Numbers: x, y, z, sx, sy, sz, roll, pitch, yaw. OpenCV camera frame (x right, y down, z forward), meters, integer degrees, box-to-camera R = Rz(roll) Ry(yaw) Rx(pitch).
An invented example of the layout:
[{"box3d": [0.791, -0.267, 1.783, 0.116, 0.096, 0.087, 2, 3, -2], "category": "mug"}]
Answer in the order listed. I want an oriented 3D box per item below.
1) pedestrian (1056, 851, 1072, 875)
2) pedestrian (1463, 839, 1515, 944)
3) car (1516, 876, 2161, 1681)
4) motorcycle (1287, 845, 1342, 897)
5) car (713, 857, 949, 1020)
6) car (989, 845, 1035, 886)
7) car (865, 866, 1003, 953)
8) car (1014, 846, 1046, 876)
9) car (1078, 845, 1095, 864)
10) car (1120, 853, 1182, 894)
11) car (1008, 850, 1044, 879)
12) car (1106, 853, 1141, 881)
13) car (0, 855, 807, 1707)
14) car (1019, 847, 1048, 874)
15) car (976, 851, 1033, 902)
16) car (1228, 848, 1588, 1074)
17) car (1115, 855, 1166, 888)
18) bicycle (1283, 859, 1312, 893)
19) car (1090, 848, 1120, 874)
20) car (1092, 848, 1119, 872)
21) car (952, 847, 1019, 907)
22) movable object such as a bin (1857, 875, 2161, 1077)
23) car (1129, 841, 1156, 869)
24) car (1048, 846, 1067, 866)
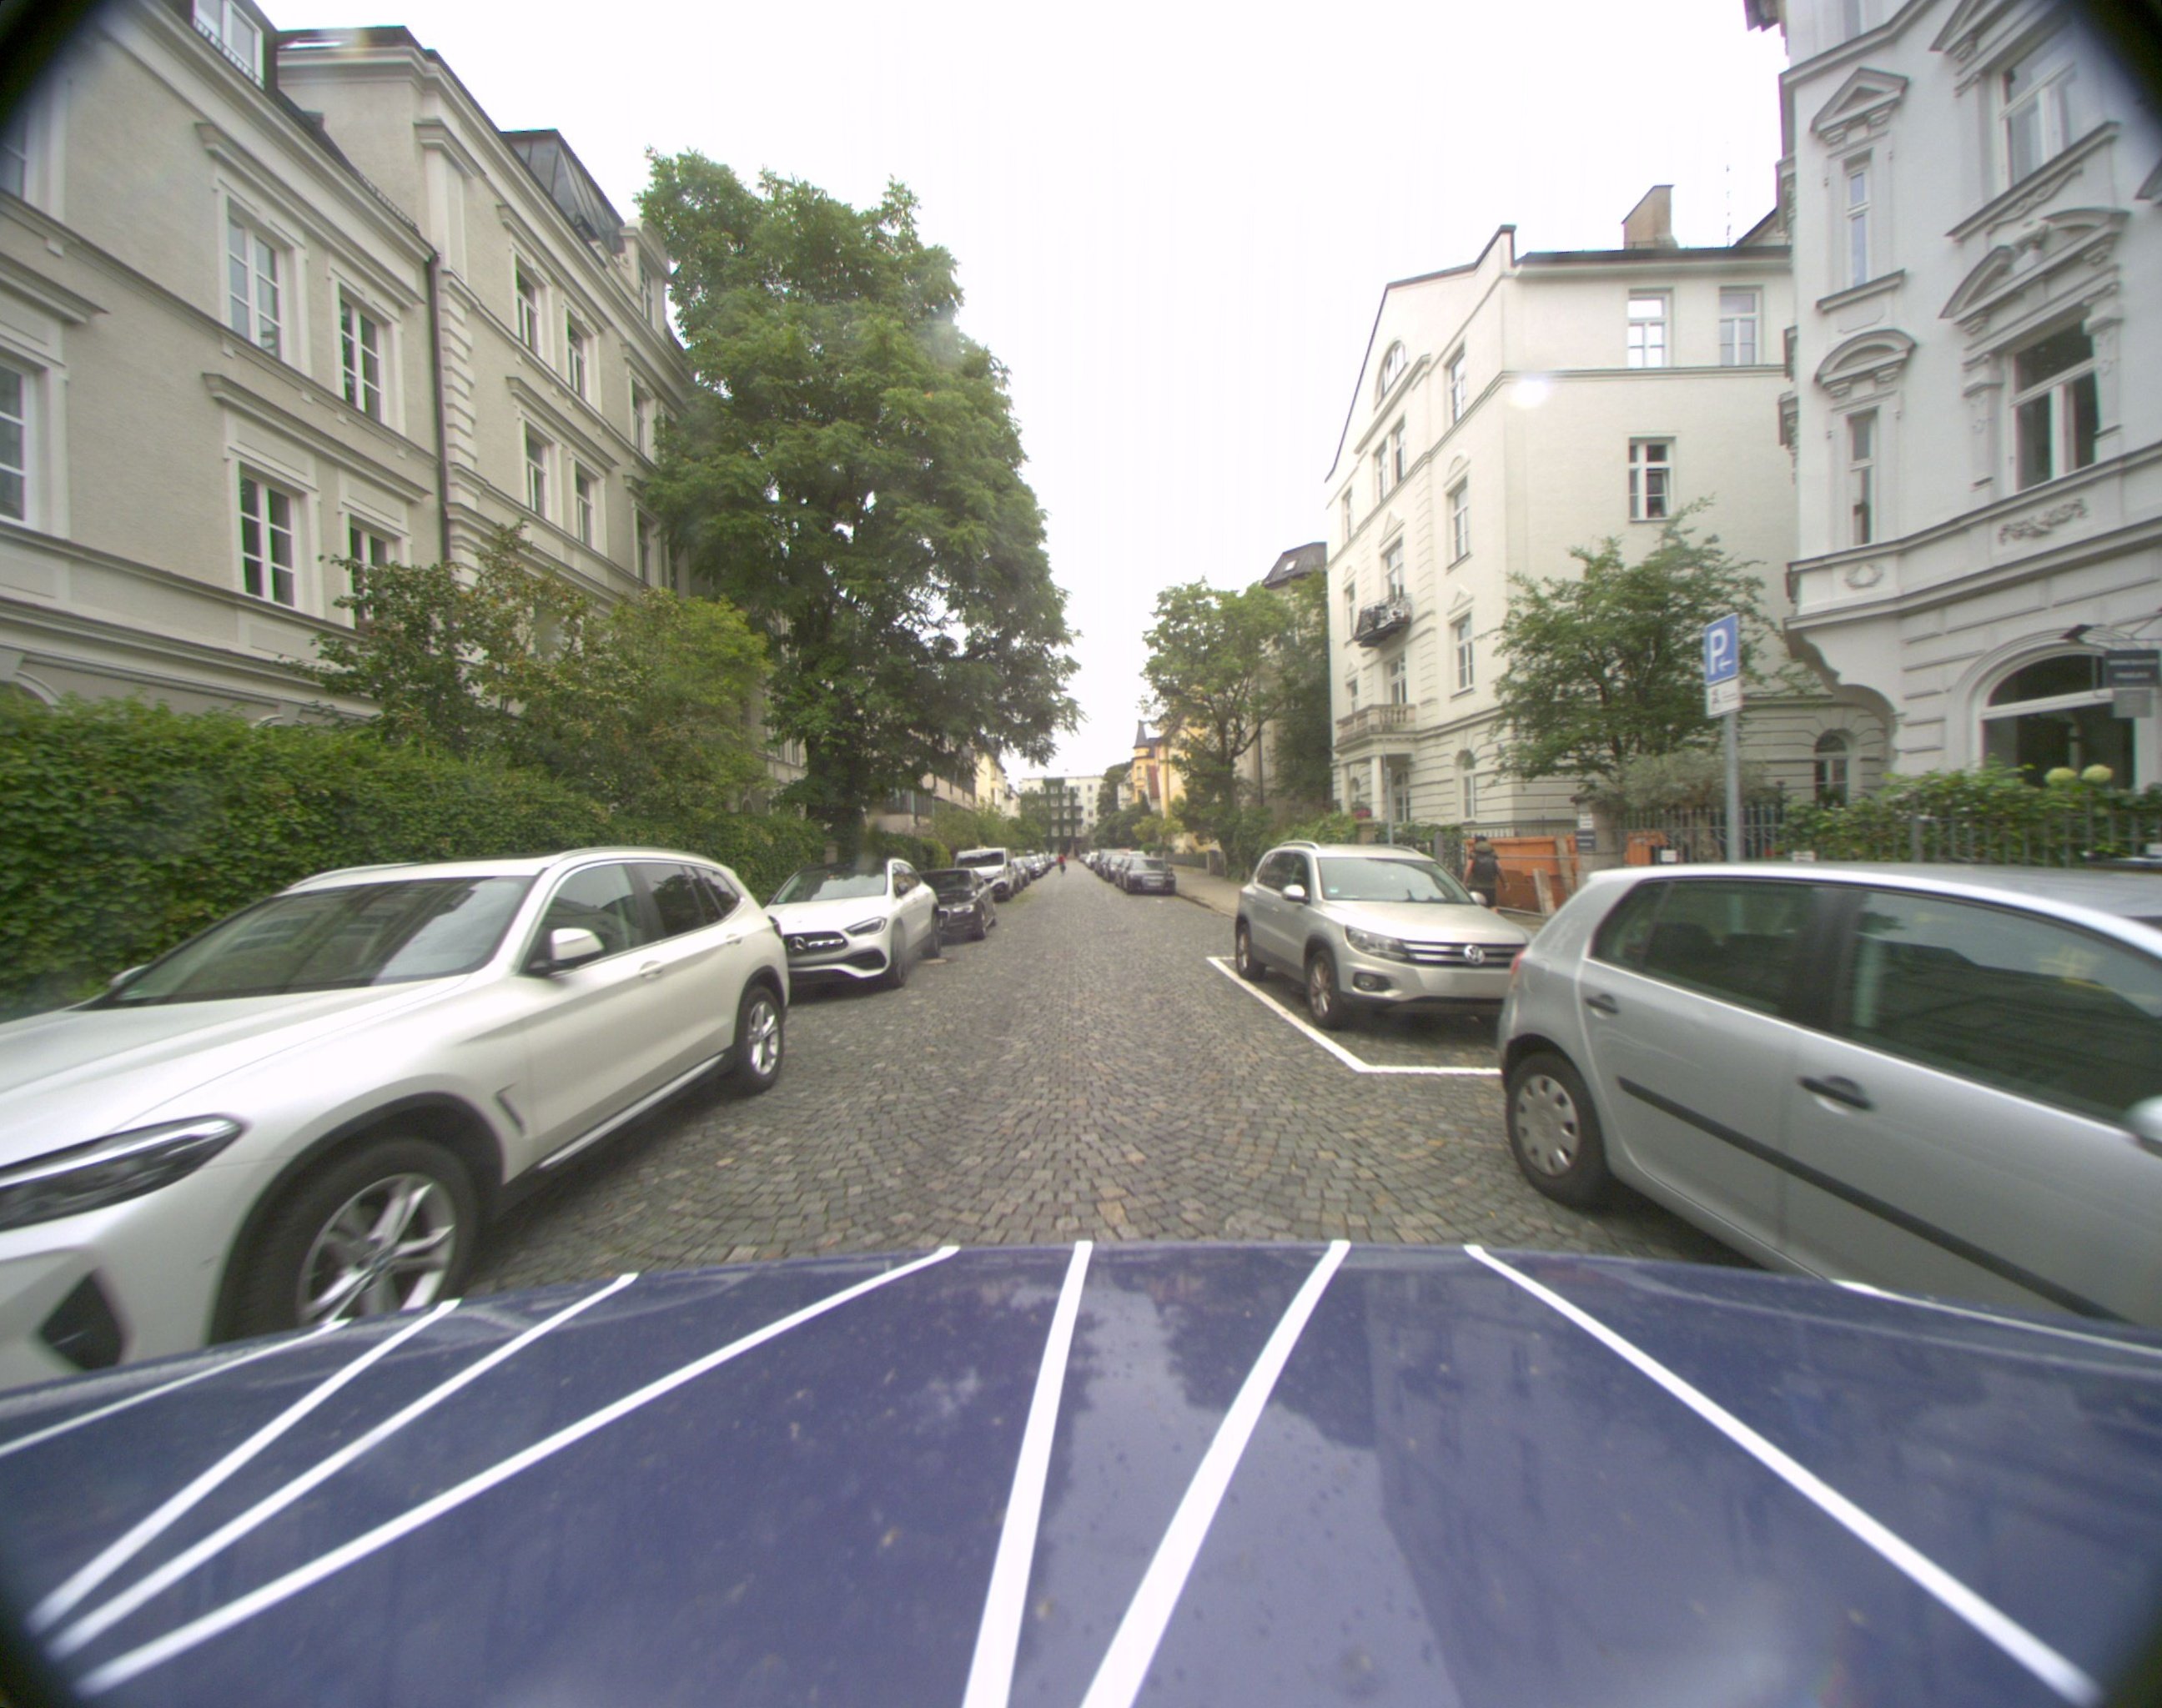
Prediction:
[{"box3d": [-1.315, 0.662, 57.678, 1.105, 1.768, 1.263, -2, 1, 0], "category": "pedestrian"}, {"box3d": [6.581, 0.582, 12.253, 0.665, 1.618, 0.670, -1, 2, 31], "category": "pedestrian"}, {"box3d": [2.847, 0.851, 1.524, 1.636, 1.386, 3.815, -2, 1, -2], "category": "car"}, {"box3d": [6.851, 0.473, 22.413, 0.738, 1.420, 2.244, -3, 1, -3], "category": "motorcycle"}, {"box3d": [-3.046, 0.912, 10.335, 1.752, 1.591, 4.471, -2, 1, -1], "category": "car"}, {"box3d": [-3.607, 0.569, 40.349, 1.998, 2.002, 3.999, -2, 1, 0], "category": "car"}, {"box3d": [-2.788, 0.997, 15.530, 1.924, 1.291, 4.807, -2, 1, -1], "category": "car"}, {"box3d": [-3.654, 0.490, 55.236, 1.998, 2.002, 3.999, -2, 1, 0], "category": "car"}, {"box3d": [0.605, 0.014, 83.180, 1.791, 2.002, 3.214, -2, 1, 0], "category": "car"}, {"box3d": [2.674, 0.725, 30.018, 1.886, 1.411, 4.807, 1, 1, -1], "category": "car"}, {"box3d": [-3.585, 0.643, 50.324, 1.998, 1.705, 3.999, -2, 1, 0], "category": "car"}, {"box3d": [2.312, 0.687, 42.425, 1.714, 1.417, 3.999, -2, 1, 0], "category": "car"}, {"box3d": [-3.103, 0.928, 3.502, 1.925, 1.676, 4.632, -2, 1, 0], "category": "car"}, {"box3d": [-3.878, 0.509, 62.524, 1.998, 2.002, 3.999, -2, 1, 0], "category": "car"}, {"box3d": [-3.302, 0.907, 33.513, 1.998, 2.002, 3.999, -2, 1, 0], "category": "car"}, {"box3d": [2.803, 0.768, 7.605, 1.694, 1.563, 4.067, -2, 1, -2], "category": "car"}, {"box3d": [2.654, 0.769, 34.809, 1.998, 1.324, 3.999, -2, 0, 0], "category": "car"}, {"box3d": [7.153, 0.711, 25.167, 0.357, 1.044, 1.743, -2, 1, -3], "category": "bicycle"}, {"box3d": [1.580, 0.446, 51.524, 1.886, 1.561, 3.999, -2, 1, 0], "category": "car"}, {"box3d": [1.908, 0.431, 60.653, 1.998, 1.789, 3.999, -2, 1, 0], "category": "car"}, {"box3d": [-3.395, 0.746, 27.931, 1.819, 1.809, 4.807, -6, 1, -1], "category": "car"}, {"box3d": [7.192, 0.800, 5.501, 0.644, 1.159, 2.654, -2, 1, 6], "category": "movable object such as a bin"}, {"box3d": [4.797, 0.036, 59.479, 1.763, 2.002, 3.999, -2, 1, 0], "category": "car"}, {"box3d": [-2.462, 0.191, 79.333, 1.763, 2.002, 3.999, -2, 1, 0], "category": "car"}]
